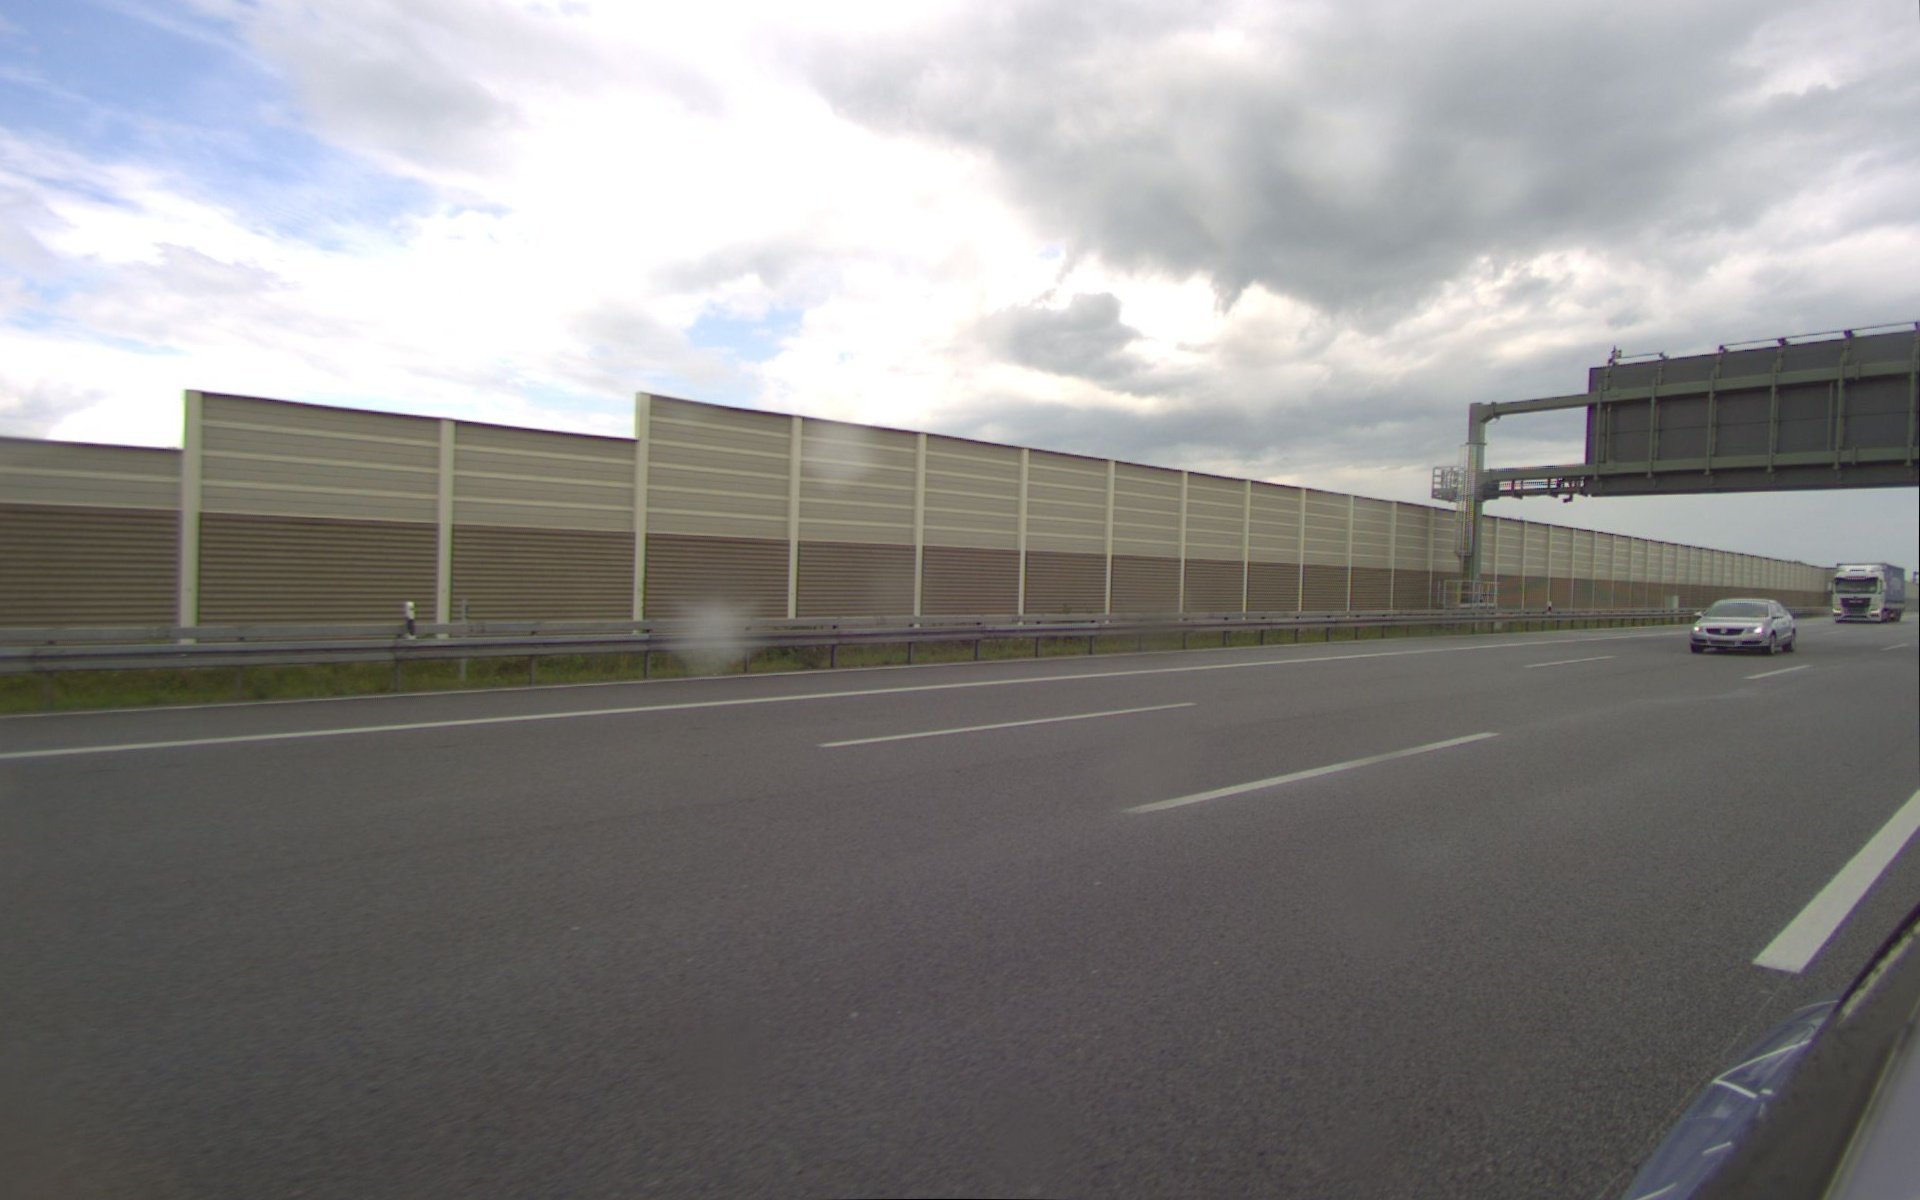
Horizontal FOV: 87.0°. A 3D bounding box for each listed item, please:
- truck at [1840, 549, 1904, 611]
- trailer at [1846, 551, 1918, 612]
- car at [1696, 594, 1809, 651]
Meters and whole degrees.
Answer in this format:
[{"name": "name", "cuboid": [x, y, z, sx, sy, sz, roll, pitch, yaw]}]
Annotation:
[{"name": "truck", "cuboid": [62.441, -1.314, 69.220, 5.628, 4.086, 2.748, 1, 0, -43]}, {"name": "trailer", "cuboid": [67.503, -1.200, 73.942, 14.207, 4.083, 2.764, 1, 0, -43]}, {"name": "car", "cuboid": [21.592, 0.590, 27.513, 3.930, 1.421, 1.731, 1, 0, -41]}]
